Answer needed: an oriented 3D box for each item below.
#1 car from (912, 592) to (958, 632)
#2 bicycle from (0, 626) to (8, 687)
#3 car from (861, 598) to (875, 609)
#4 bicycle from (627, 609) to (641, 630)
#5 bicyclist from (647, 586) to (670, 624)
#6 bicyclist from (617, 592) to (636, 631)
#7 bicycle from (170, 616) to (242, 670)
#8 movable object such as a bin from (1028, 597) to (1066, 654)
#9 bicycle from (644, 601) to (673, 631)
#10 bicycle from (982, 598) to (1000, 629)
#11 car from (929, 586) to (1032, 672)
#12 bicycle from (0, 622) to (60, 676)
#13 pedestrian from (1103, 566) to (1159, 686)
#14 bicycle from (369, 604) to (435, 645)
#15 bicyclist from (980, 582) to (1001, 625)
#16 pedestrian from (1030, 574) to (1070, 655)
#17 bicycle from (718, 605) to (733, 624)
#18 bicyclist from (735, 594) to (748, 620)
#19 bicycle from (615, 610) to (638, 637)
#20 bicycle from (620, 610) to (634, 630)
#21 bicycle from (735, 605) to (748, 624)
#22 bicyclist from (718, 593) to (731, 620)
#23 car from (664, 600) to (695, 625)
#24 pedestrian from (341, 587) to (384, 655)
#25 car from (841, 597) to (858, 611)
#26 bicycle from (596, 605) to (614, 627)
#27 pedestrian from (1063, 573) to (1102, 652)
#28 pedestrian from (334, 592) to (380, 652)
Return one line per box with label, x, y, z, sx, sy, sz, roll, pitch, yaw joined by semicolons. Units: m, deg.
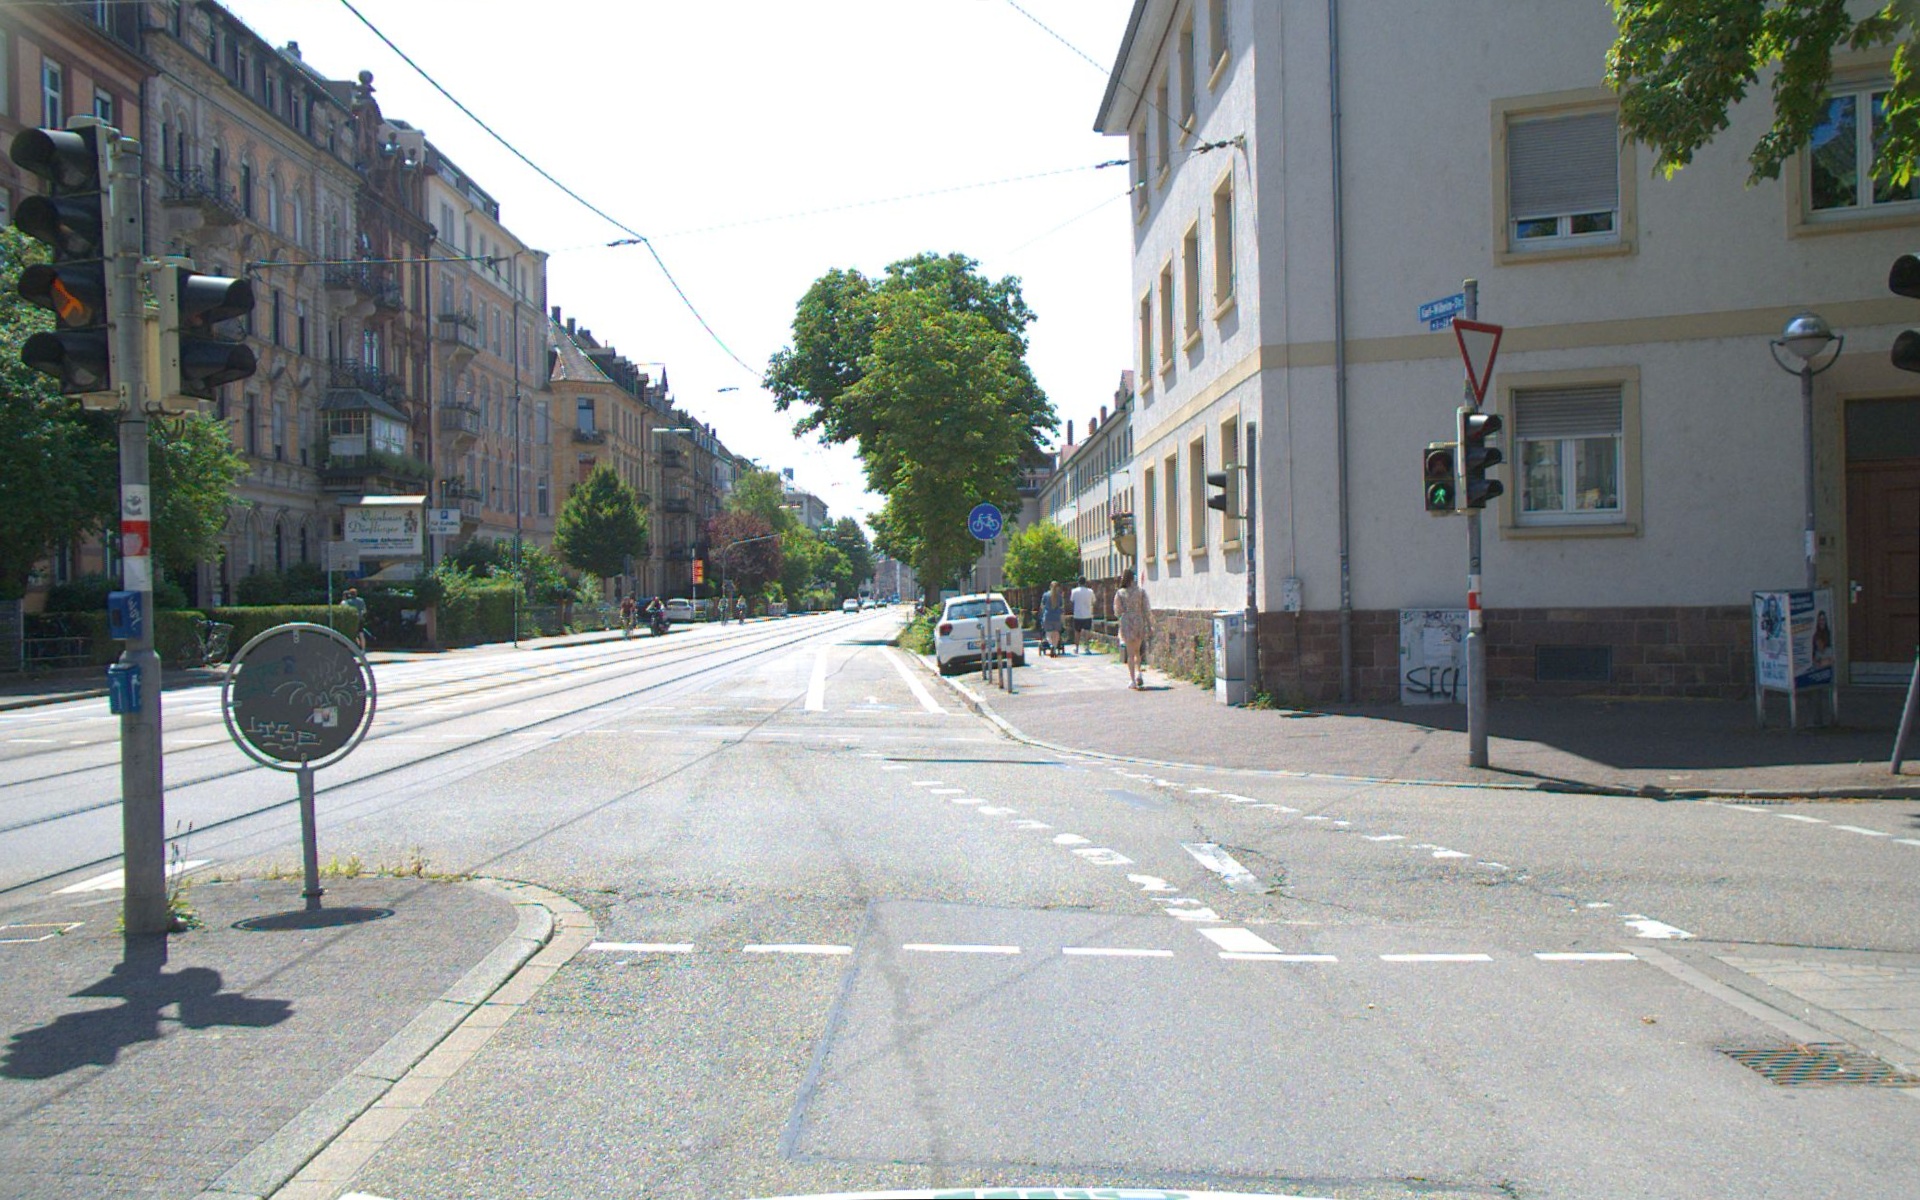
car;-1.045;0.447;67.159;1.624;1.541;3.997;-1;0;-4
bicycle;-17.260;1.015;28.743;0.450;1.074;1.565;-1;0;2
car;-13.303;0.521;239.588;1.720;1.449;3.999;-2;0;-1
bicycle;-16.757;0.995;85.078;0.430;1.000;1.710;-1;0;-3
bicyclist;-13.378;0.223;73.344;0.791;1.658;0.980;-1;0;-1
bicyclist;-13.397;0.464;66.462;0.551;1.542;0.892;-1;0;-1
bicycle;-16.555;0.923;36.362;0.625;1.112;1.932;1;0;2
movable object such as a bin;1.955;0.557;37.151;0.683;1.206;1.036;-4;0;-2
bicycle;-13.367;0.695;73.384;0.791;1.294;2.550;-1;0;0
bicycle;1.079;0.466;57.673;0.590;1.069;1.823;-1;0;1
car;0.349;0.541;33.192;1.742;1.434;4.155;-6;0;-2
bicycle;-18.108;0.937;31.546;1.612;1.013;0.495;-1;0;0
pedestrian;2.488;0.371;24.084;0.683;1.699;0.756;-1;0;-3
bicycle;-17.261;0.758;51.207;1.833;1.249;0.568;1;0;-4
bicyclist;1.075;0.125;57.694;0.696;1.477;1.010;-1;0;1
pedestrian;1.970;0.315;36.194;0.683;1.698;0.869;-4;0;-2
bicycle;-14.126;0.877;99.707;0.616;1.097;1.874;-2;0;-1
bicyclist;-13.180;0.414;99.767;0.580;1.571;0.952;-2;0;-1
bicycle;-13.395;0.942;66.450;0.556;1.056;1.829;-1;0;0
bicycle;-16.733;0.996;83.037;0.430;1.000;1.710;-1;0;-3
bicycle;-13.164;0.853;99.750;0.569;1.097;1.890;-2;0;-1
bicyclist;-14.139;0.391;99.399;0.621;1.612;1.028;-2;0;-1
car;-18.814;0.836;111.078;1.829;1.628;4.096;0;0;-6
pedestrian;-16.892;0.579;46.761;0.862;1.889;0.812;-1;0;41
car;-12.060;0.470;180.987;1.650;1.475;3.999;-2;0;-2
bicycle;-16.724;0.734;77.894;0.486;1.004;1.710;3;0;-3
pedestrian;2.716;0.271;36.665;0.683;1.698;0.756;-4;0;-2
pedestrian;-17.399;0.631;47.742;0.890;1.730;0.823;-1;0;26
